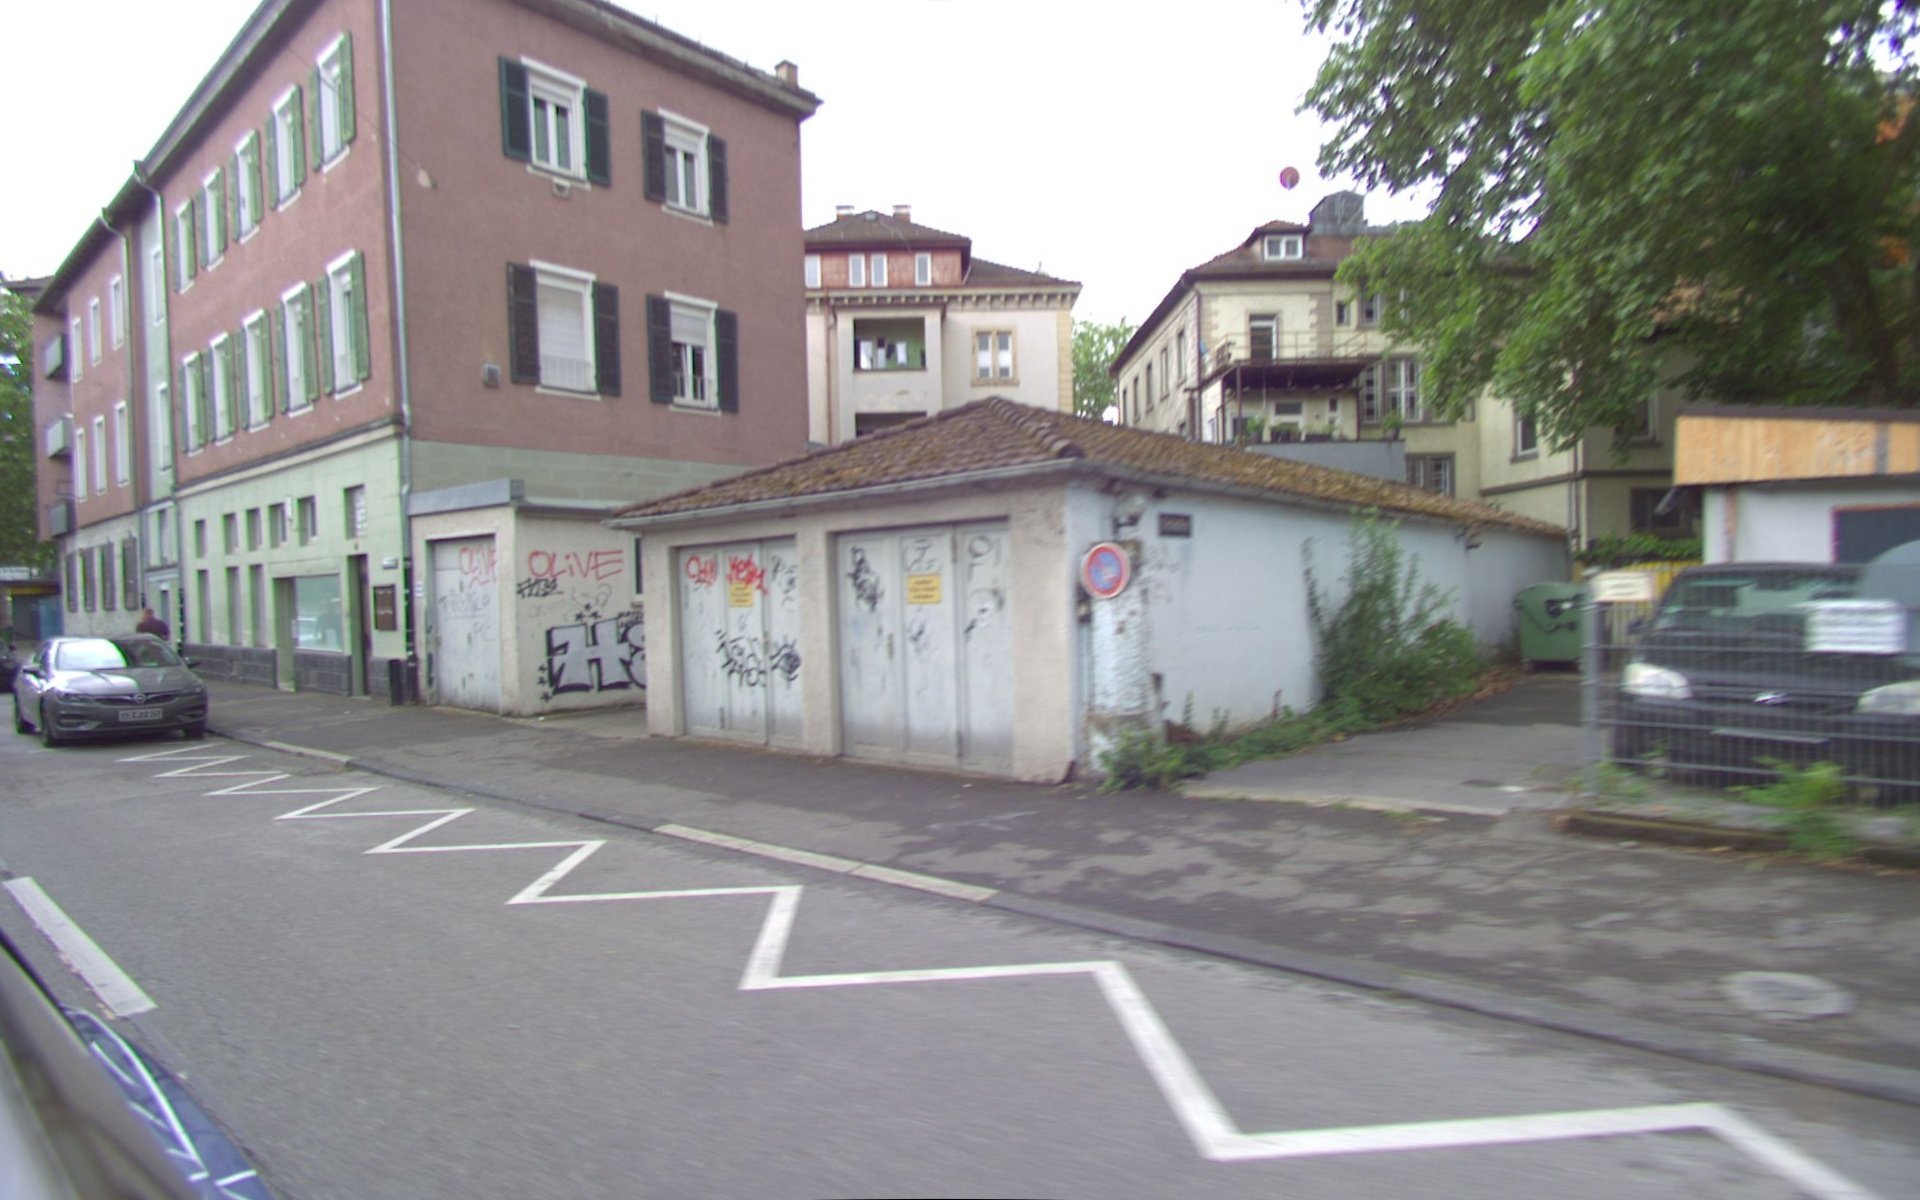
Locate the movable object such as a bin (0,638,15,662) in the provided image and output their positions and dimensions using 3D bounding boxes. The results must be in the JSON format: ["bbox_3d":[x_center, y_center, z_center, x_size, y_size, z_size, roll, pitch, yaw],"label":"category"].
[{"bbox_3d":[-41.765,2.204,43.764,1.063,0.971,0.674,-3,4,-3],"label":"movable object such as a bin"}]

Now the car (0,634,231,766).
[{"bbox_3d":[-12.276,1.325,14.623,4.124,1.497,1.859,-2,1,41],"label":"car"}]

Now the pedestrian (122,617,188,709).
[{"bbox_3d":[-16.232,1.258,20.406,0.983,1.757,0.754,-3,1,38],"label":"pedestrian"}]

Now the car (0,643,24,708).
[{"bbox_3d":[-24.909,1.857,25.159,4.917,1.466,1.810,-1,0,40],"label":"car"}]

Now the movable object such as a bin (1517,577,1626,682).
[{"bbox_3d":[9.760,0.448,16.127,1.172,1.494,1.727,-3,1,41],"label":"movable object such as a bin"}]

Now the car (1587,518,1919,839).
[{"bbox_3d":[5.769,0.429,6.979,1.852,1.655,3.723,-2,-2,41],"label":"car"}]
